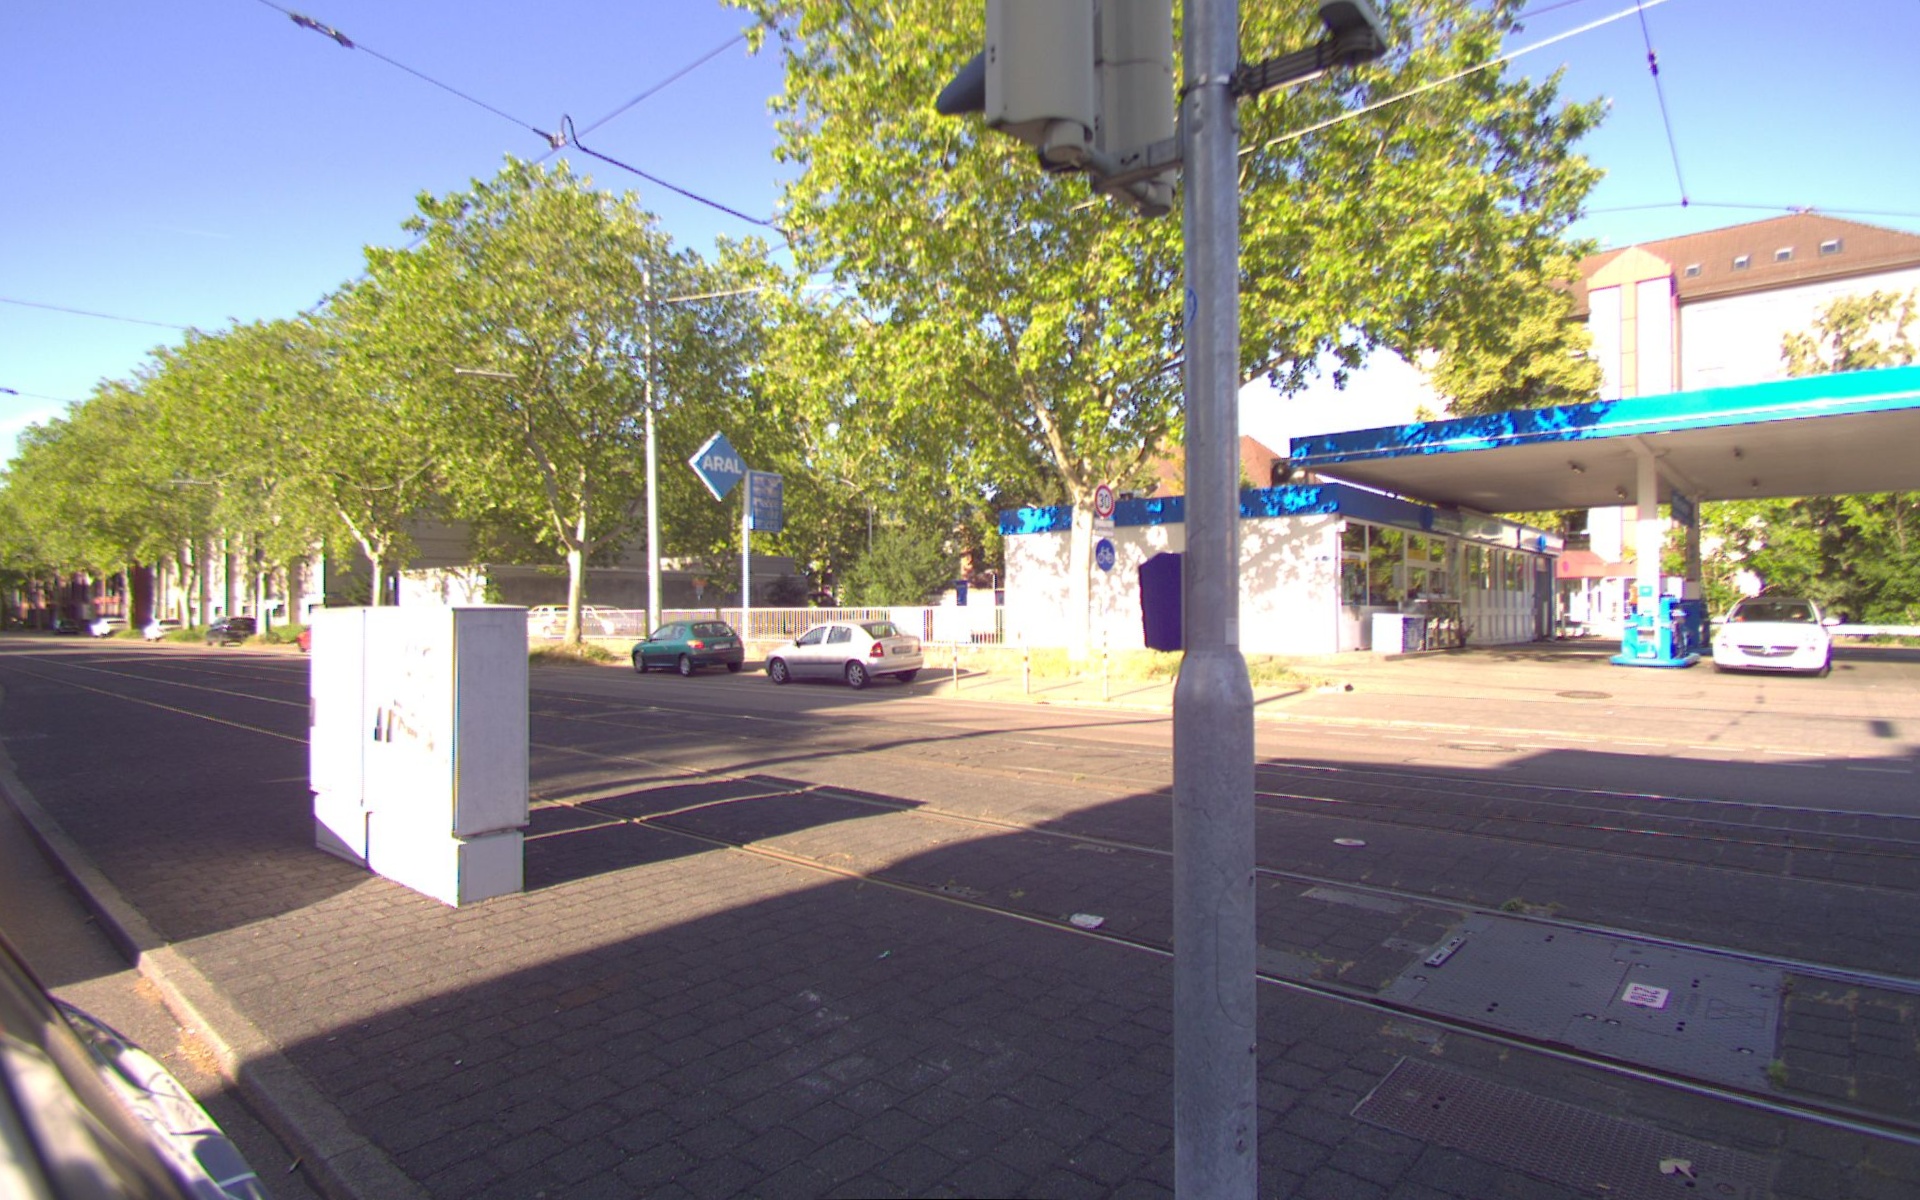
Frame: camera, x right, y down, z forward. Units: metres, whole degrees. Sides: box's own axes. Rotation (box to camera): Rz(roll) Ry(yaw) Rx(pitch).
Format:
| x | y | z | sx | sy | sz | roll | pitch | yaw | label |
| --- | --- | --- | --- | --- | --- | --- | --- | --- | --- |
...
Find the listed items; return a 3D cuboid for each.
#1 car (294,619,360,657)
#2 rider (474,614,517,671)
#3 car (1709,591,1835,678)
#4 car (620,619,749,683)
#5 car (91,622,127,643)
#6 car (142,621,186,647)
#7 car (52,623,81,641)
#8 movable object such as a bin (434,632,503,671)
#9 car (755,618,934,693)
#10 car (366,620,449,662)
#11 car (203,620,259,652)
| x | y | z | sx | sy | sz | roll | pitch | yaw | label |
| --- | --- | --- | --- | --- | --- | --- | --- | --- | --- |
| -28.759 | 1.698 | 45.953 | 3.377 | 1.506 | 1.639 | -1 | 2 | 43 | car |
| -13.821 | 1.253 | 30.105 | 1.104 | 1.660 | 0.717 | -1 | 0 | 36 | rider |
| 15.877 | 0.599 | 19.712 | 1.743 | 1.446 | 3.882 | -1 | 1 | 41 | car |
| -7.378 | 1.296 | 26.947 | 3.606 | 1.455 | 1.598 | -1 | 2 | 43 | car |
| -66.794 | 2.506 | 79.417 | 3.731 | 1.471 | 1.639 | -1 | 2 | 43 | car |
| -53.708 | 2.290 | 68.249 | 3.878 | 1.552 | 1.731 | -1 | 2 | 43 | car |
| -85.042 | 3.019 | 96.337 | 3.731 | 1.471 | 1.639 | -1 | 2 | 43 | car |
| -14.999 | 1.545 | 30.862 | 1.831 | 1.111 | 1.164 | -1 | 0 | 36 | movable object such as a bin |
| -2.638 | 1.187 | 22.601 | 3.987 | 1.376 | 1.666 | -2 | 3 | 41 | car |
| -21.840 | 1.567 | 39.949 | 3.769 | 1.455 | 1.701 | -1 | 2 | 43 | car |
| -40.719 | 1.966 | 56.481 | 3.878 | 1.603 | 1.731 | -1 | 2 | 43 | car |
